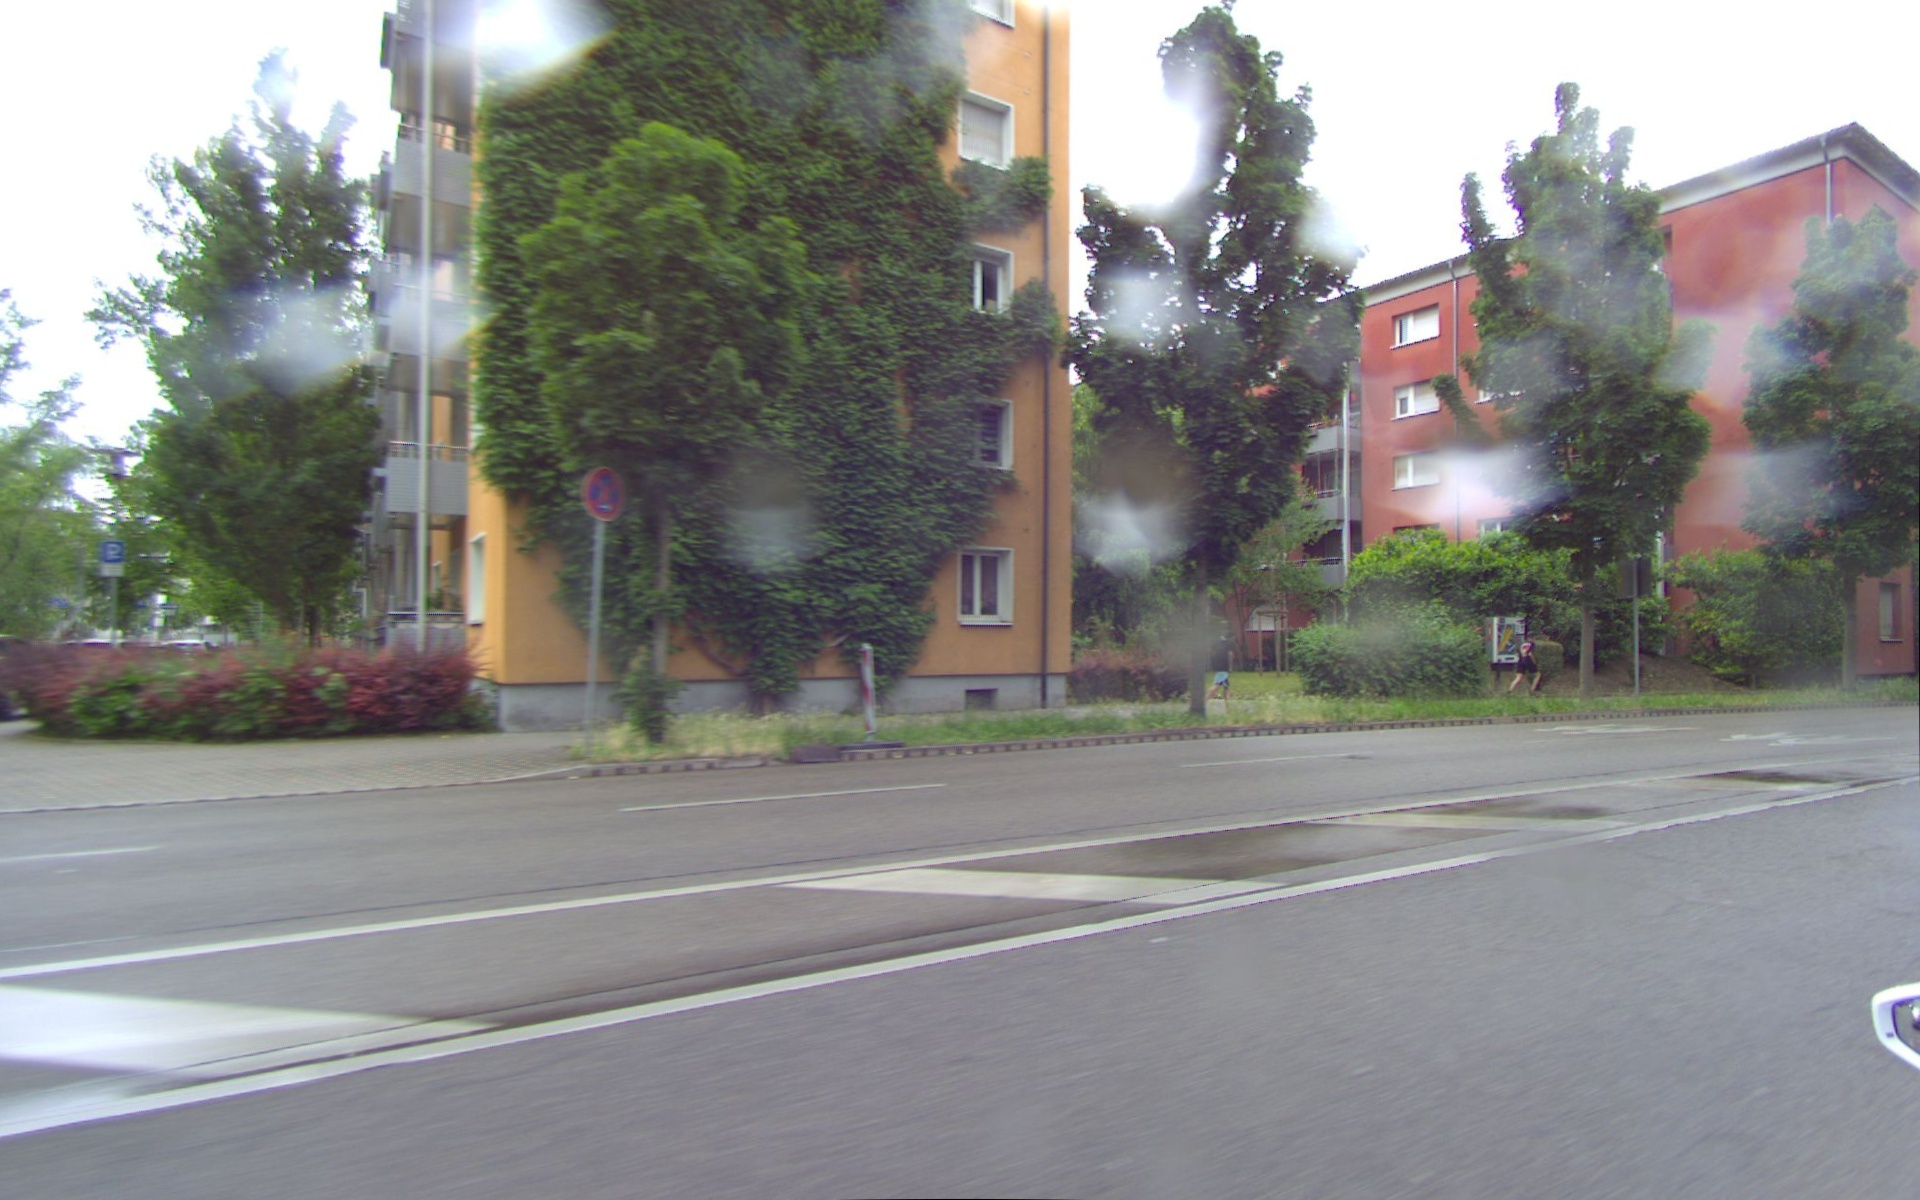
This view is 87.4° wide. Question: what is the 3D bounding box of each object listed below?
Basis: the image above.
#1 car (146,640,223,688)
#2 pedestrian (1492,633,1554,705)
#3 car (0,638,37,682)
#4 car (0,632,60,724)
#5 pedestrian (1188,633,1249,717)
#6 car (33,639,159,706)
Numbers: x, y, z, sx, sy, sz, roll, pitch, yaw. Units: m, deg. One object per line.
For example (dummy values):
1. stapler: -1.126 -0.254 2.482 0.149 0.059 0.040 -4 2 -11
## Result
1. car: -29.558 2.417 38.404 1.764 1.737 3.676 1 -3 -29
2. pedestrian: 12.406 1.507 22.132 1.055 1.537 0.690 1 -2 -27
3. car: -38.854 2.385 40.280 1.830 1.683 3.822 1 -3 -29
4. car: -18.569 1.452 18.765 1.881 1.613 3.967 -1 -2 -31
5. pedestrian: 4.649 1.337 18.081 0.825 1.468 0.669 1 -2 -26
6. car: -23.332 1.908 27.289 1.830 1.683 3.822 1 -3 -29
